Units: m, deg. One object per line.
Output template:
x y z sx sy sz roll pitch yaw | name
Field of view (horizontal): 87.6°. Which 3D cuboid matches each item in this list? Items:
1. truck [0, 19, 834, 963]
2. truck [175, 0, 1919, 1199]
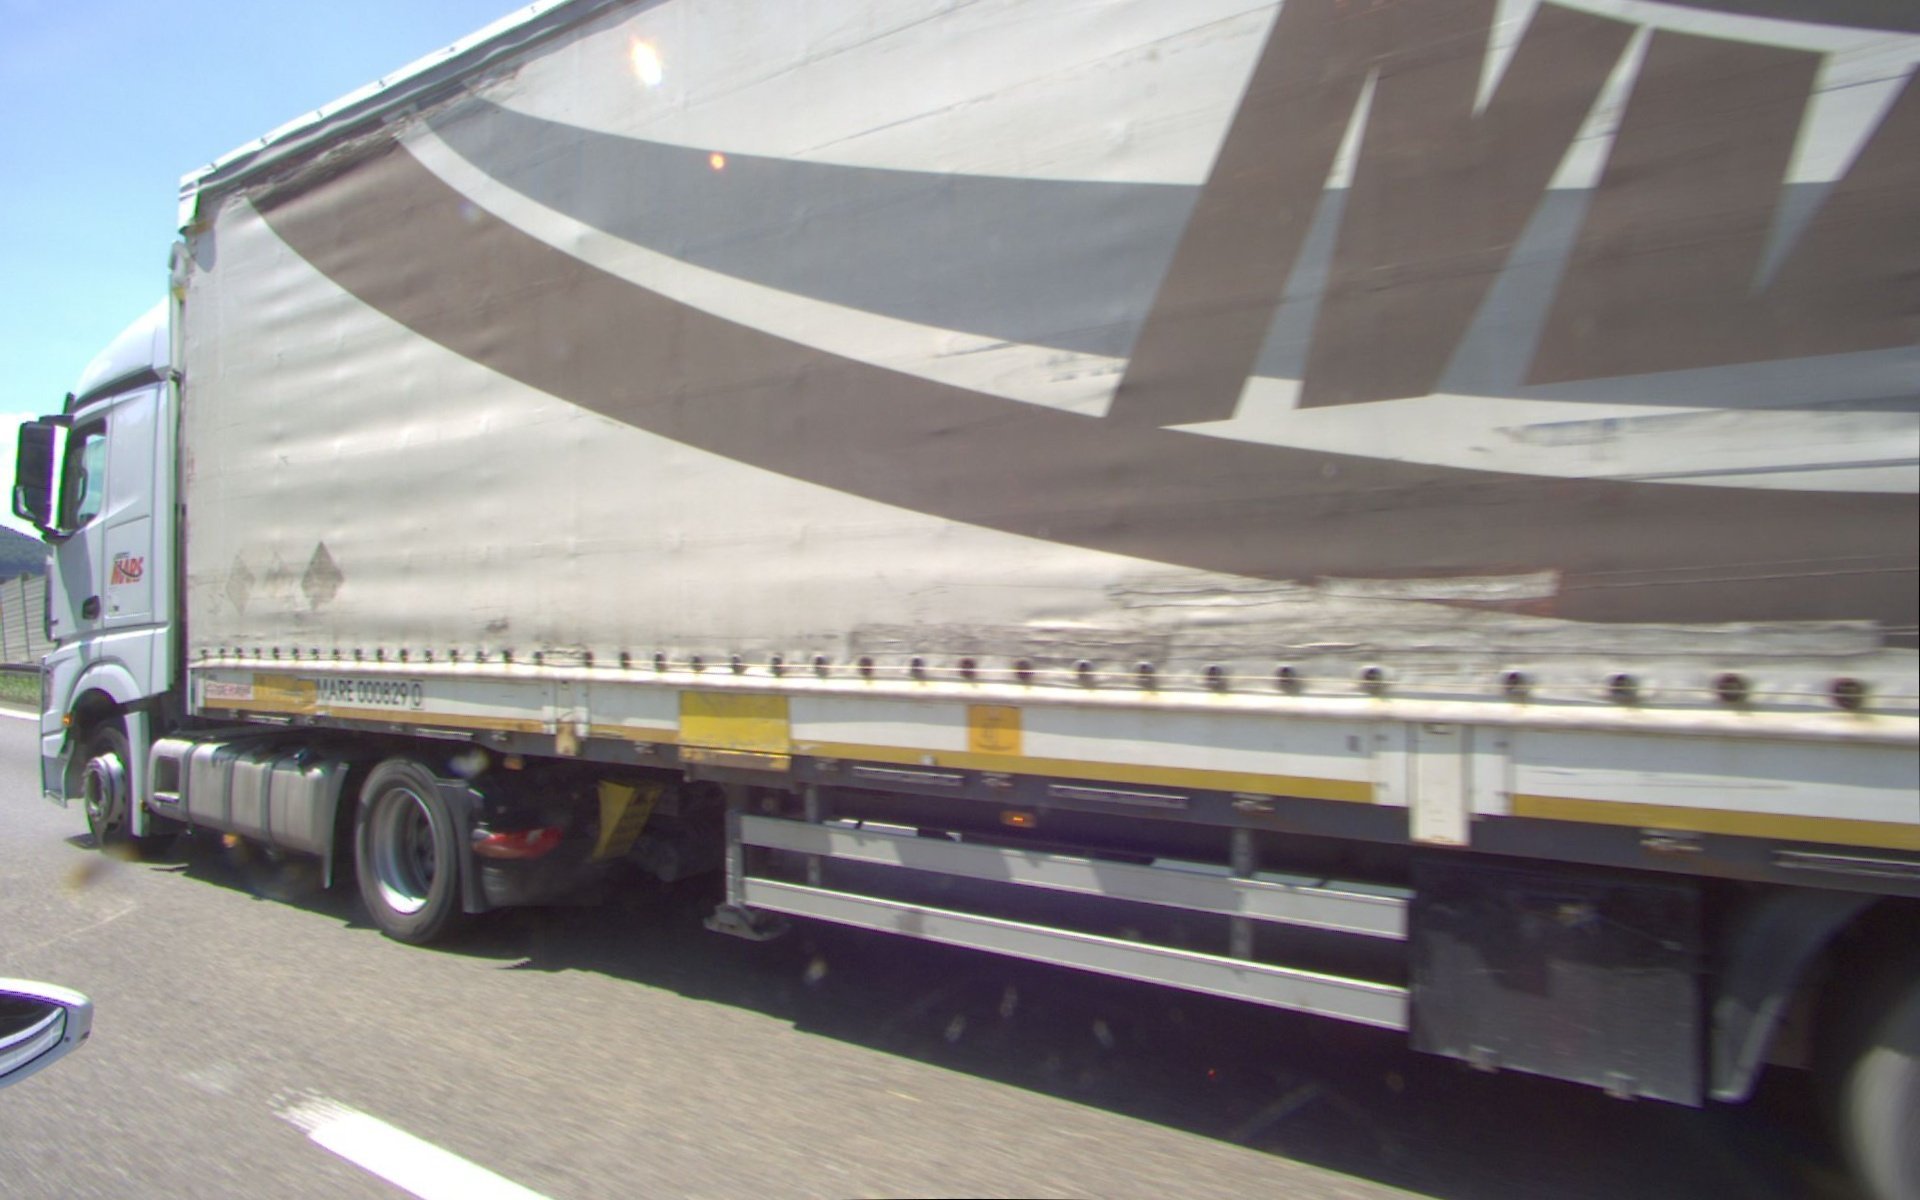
-3.980 -0.387 6.992 5.670 4.120 2.715 -2 -1 31 | truck
2.052 -0.576 3.396 13.540 4.120 2.722 -2 -1 31 | truck
